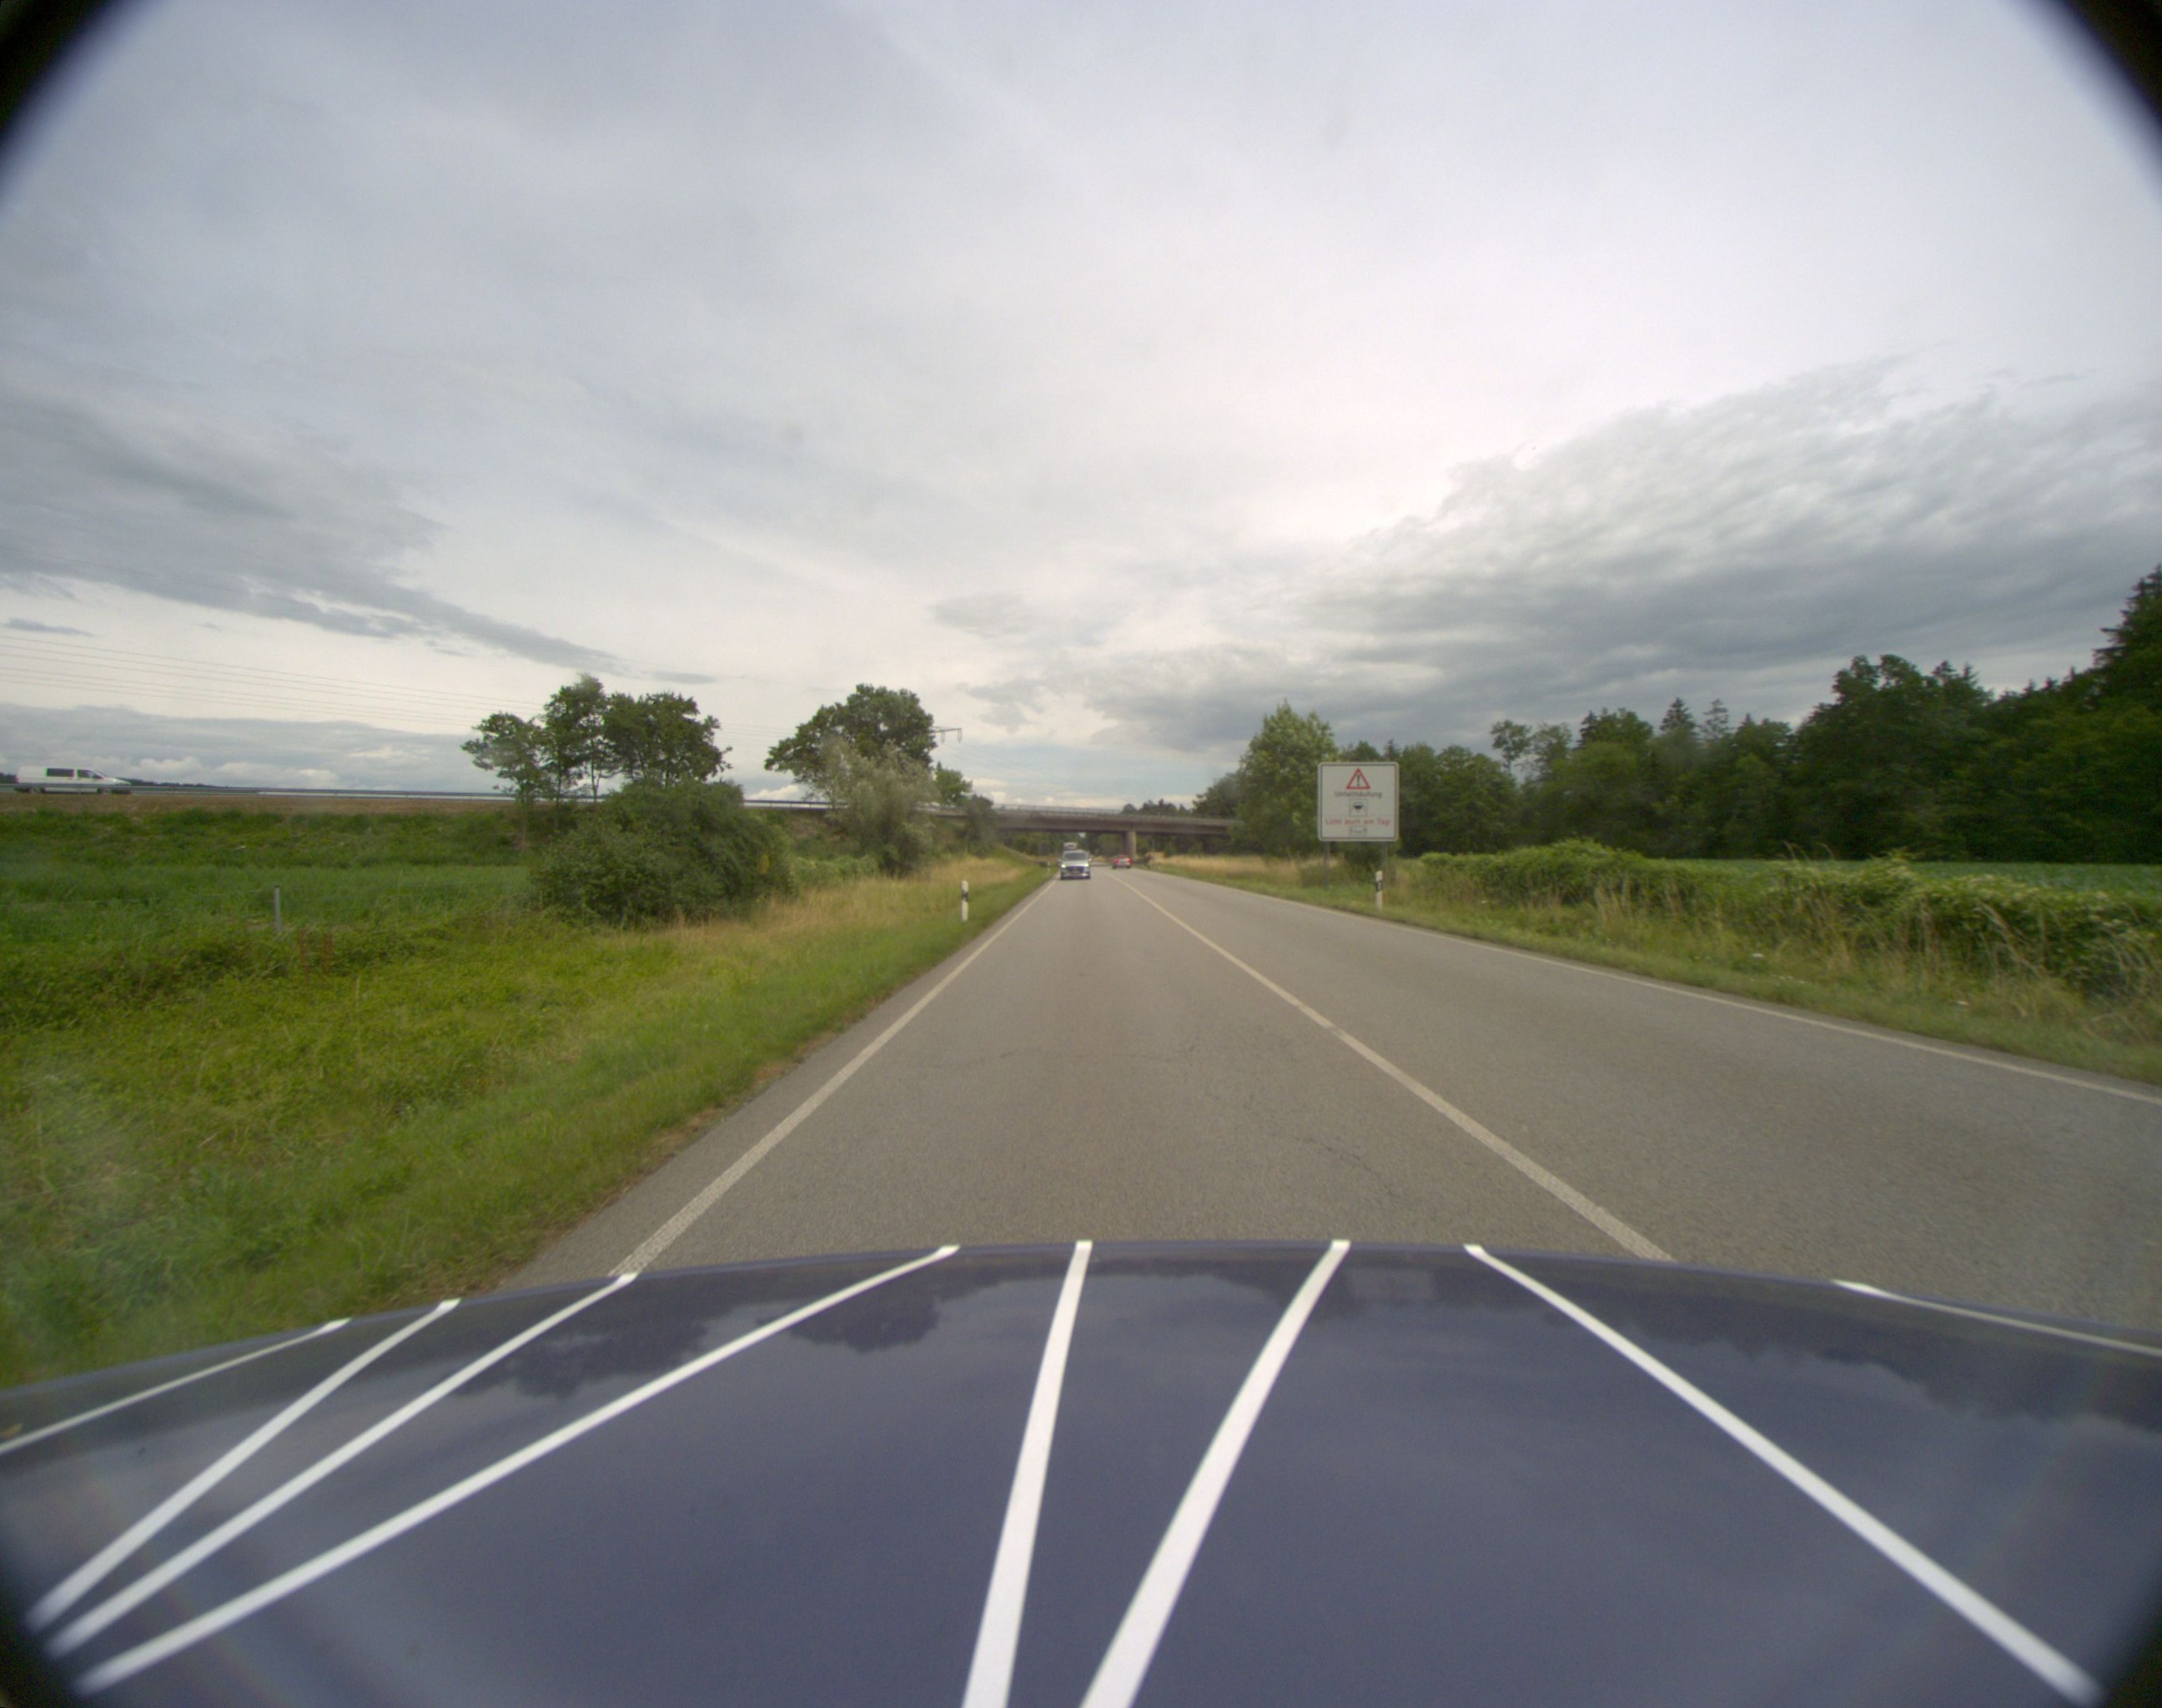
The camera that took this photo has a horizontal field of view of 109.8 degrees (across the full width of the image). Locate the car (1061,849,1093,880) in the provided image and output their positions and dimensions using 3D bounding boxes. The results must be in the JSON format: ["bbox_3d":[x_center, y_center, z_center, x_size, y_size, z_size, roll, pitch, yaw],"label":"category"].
[{"bbox_3d":[-0.271,0.647,49.983,1.923,1.823,3.999,-2,1,0],"label":"car"}]

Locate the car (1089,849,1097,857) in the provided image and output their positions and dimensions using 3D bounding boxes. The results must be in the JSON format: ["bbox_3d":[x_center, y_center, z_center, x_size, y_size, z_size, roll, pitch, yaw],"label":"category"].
[{"bbox_3d":[2.722,-0.164,171.613,1.800,1.653,3.999,-2,1,0],"label":"car"}]

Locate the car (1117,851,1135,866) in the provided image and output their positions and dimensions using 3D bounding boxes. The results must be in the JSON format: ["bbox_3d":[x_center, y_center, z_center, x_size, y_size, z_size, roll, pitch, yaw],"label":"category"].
[{"bbox_3d":[4.805,0.483,81.498,1.771,1.455,4.000,-2,1,2],"label":"car"}]

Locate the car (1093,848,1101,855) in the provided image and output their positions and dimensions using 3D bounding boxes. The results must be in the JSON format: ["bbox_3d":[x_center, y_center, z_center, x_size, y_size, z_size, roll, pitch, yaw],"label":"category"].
[{"bbox_3d":[3.993,-0.567,186.243,1.800,1.653,3.999,-2,1,0],"label":"car"}]
